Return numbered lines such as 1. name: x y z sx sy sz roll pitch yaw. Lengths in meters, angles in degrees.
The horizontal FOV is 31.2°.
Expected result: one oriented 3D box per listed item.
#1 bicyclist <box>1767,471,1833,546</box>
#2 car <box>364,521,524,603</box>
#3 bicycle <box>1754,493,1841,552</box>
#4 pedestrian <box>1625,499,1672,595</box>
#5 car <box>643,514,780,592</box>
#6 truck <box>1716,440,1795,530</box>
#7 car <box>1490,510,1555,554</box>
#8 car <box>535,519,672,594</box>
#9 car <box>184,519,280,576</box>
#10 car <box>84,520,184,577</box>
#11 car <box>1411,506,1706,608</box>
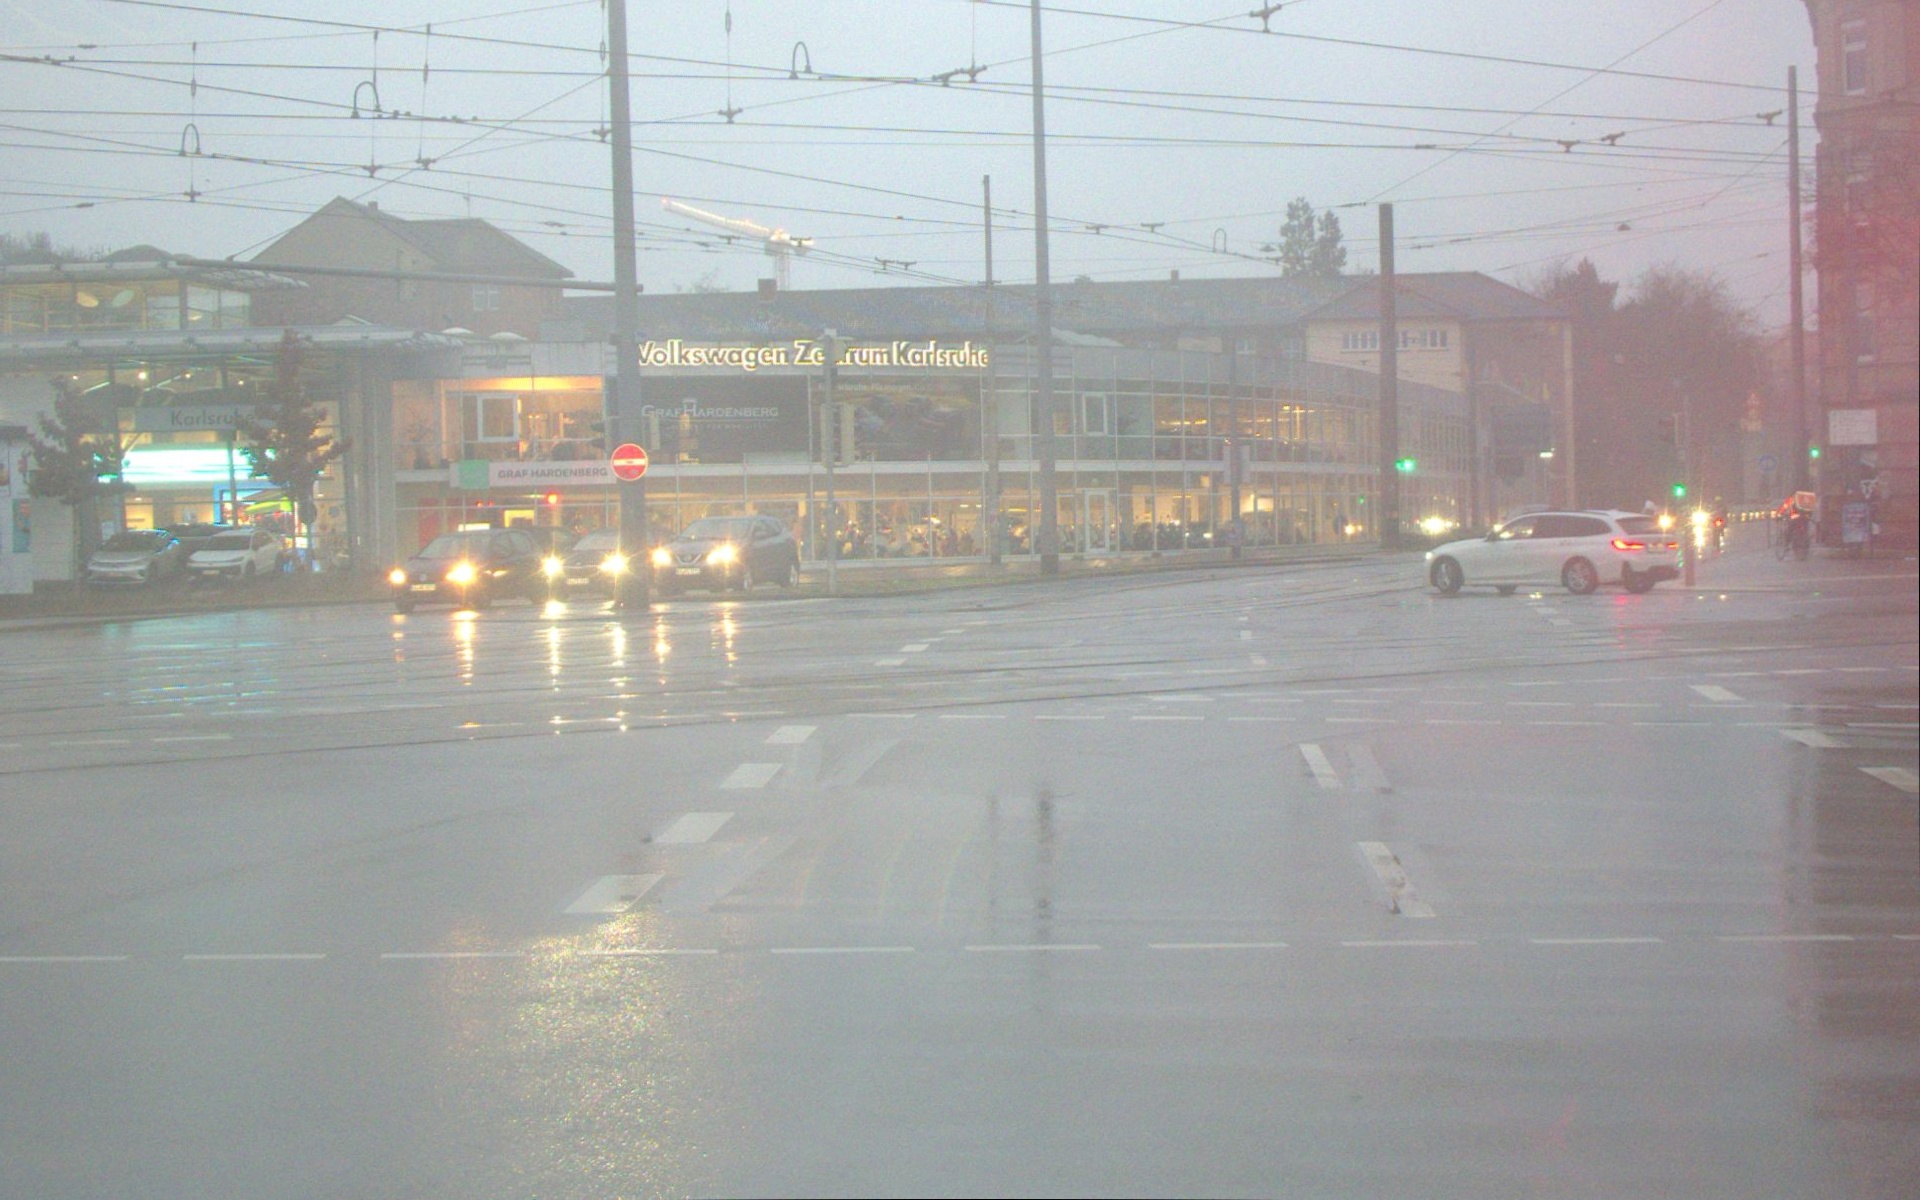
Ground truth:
1. bicyclist: 20.217 -2.210 82.739 1.047 1.762 1.072 -2 1 -29
2. car: -9.590 -0.729 64.146 1.813 1.441 3.999 -1 1 9
3. bicycle: 20.125 -1.866 82.654 0.695 1.371 2.208 -2 1 -30
4. pedestrian: 13.271 -1.021 66.262 0.591 1.834 0.619 -2 1 -35
5. car: -4.841 -0.939 67.492 1.813 1.441 3.999 -1 1 9
6. truck: 24.913 -3.573 107.552 1.995 2.682 5.111 -1 1 17
7. car: 21.288 -2.572 130.059 1.864 1.596 3.783 -1 1 18
8. car: -7.302 -0.914 70.813 1.813 1.441 3.999 -1 1 9
9. car: -21.531 -1.554 101.775 1.862 1.596 4.000 -1 1 2
10. car: -24.442 -1.528 101.881 1.862 1.596 4.000 -1 1 2
11. car: 10.222 -0.721 58.984 4.810 1.651 1.736 0 1 44
